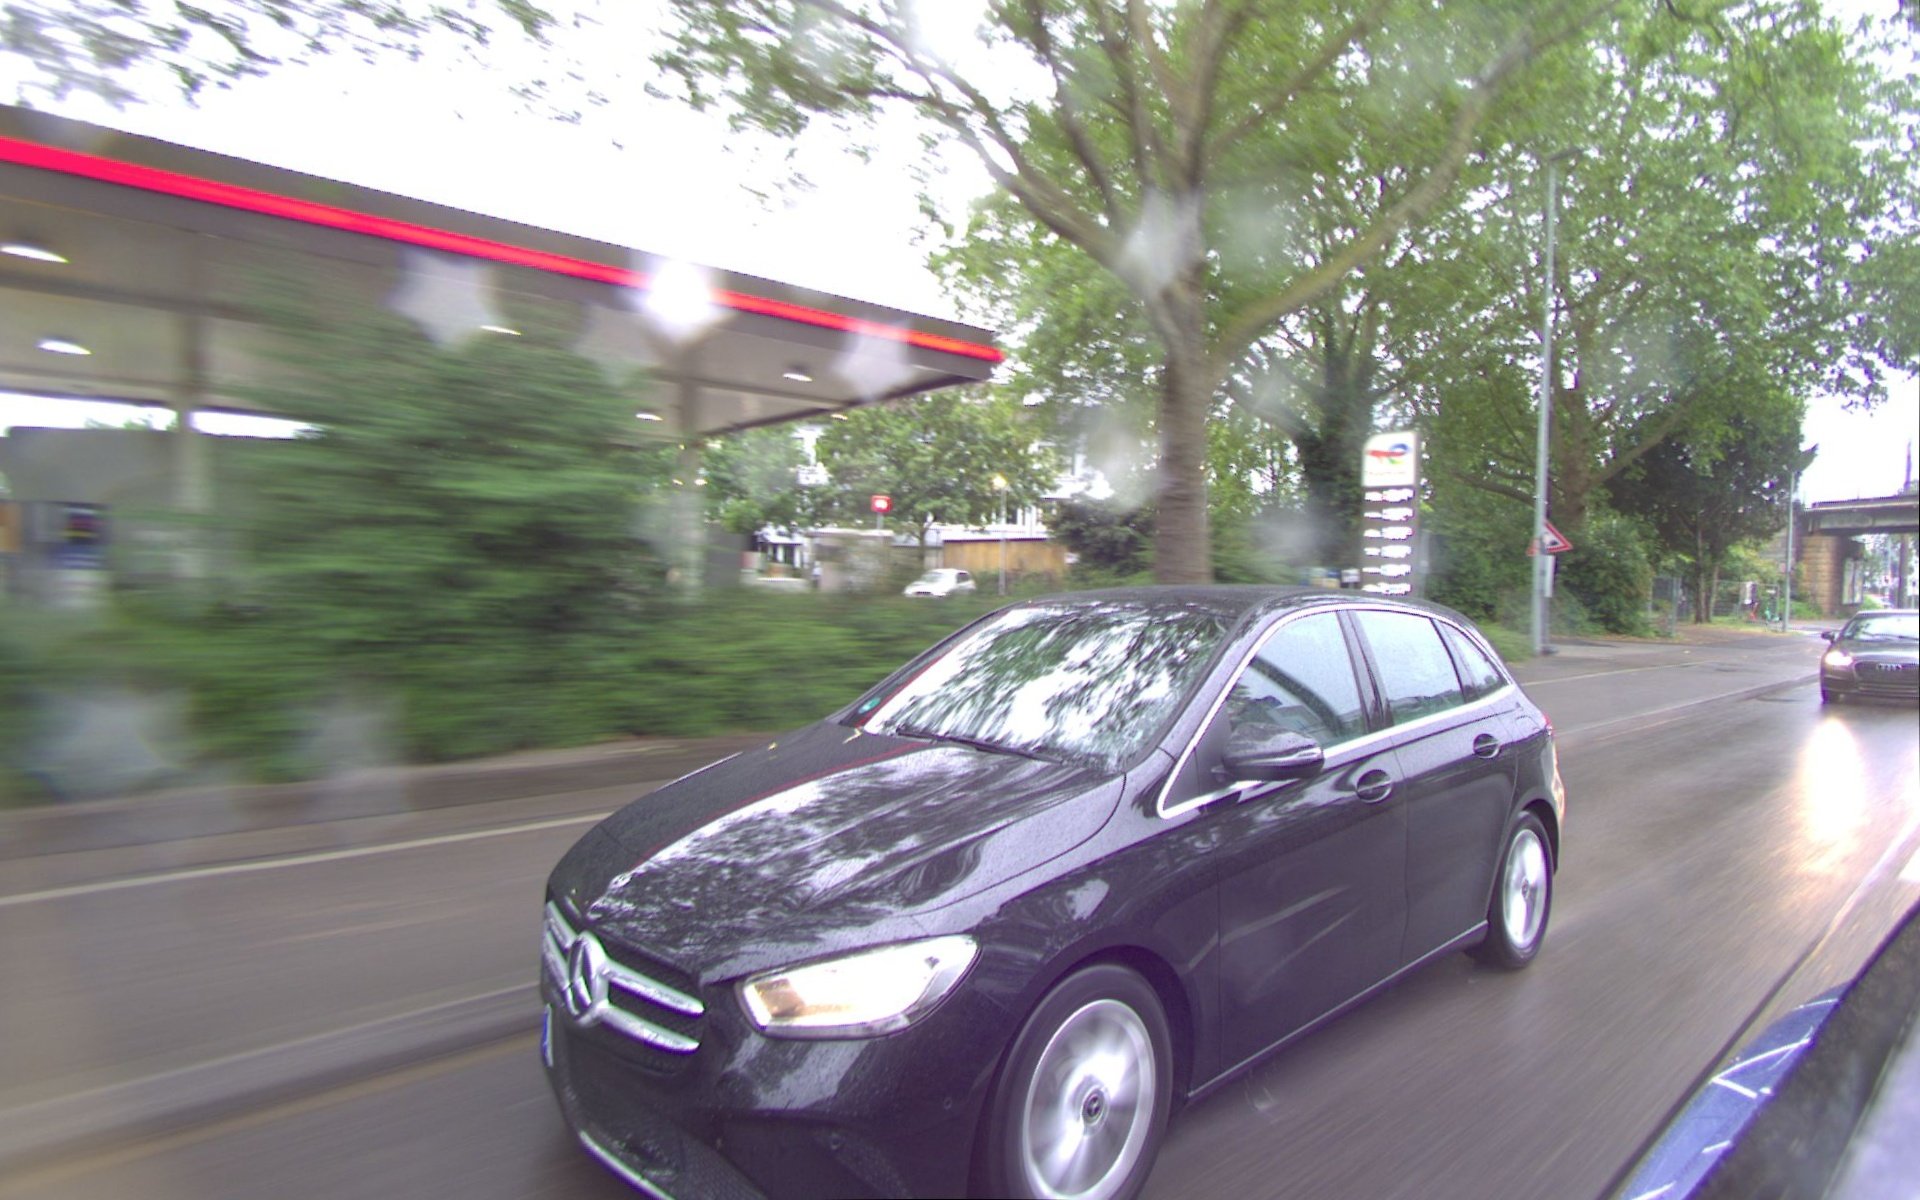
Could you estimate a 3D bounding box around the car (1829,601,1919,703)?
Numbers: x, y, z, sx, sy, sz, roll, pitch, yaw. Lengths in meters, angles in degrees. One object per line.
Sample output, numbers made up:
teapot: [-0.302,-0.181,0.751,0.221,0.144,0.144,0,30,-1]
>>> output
car: [14.968,0.741,15.688,3.714,1.402,1.641,-1,1,-39]

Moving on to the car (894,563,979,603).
car: [-0.840,-0.698,40.021,1.973,1.506,4.606,0,2,18]

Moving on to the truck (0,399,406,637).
truck: [-13.533,-1.179,16.349,7.638,3.394,2.697,0,0,-43]

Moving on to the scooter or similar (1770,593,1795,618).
scooter or similar: [39.942,0.250,49.136,1.792,1.174,0.454,0,0,-34]

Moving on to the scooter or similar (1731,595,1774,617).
scooter or similar: [37.923,0.288,48.428,1.705,1.022,0.454,0,0,-3]

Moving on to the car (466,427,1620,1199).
car: [0.764,0.579,3.829,4.344,1.549,1.819,4,-2,-42]
